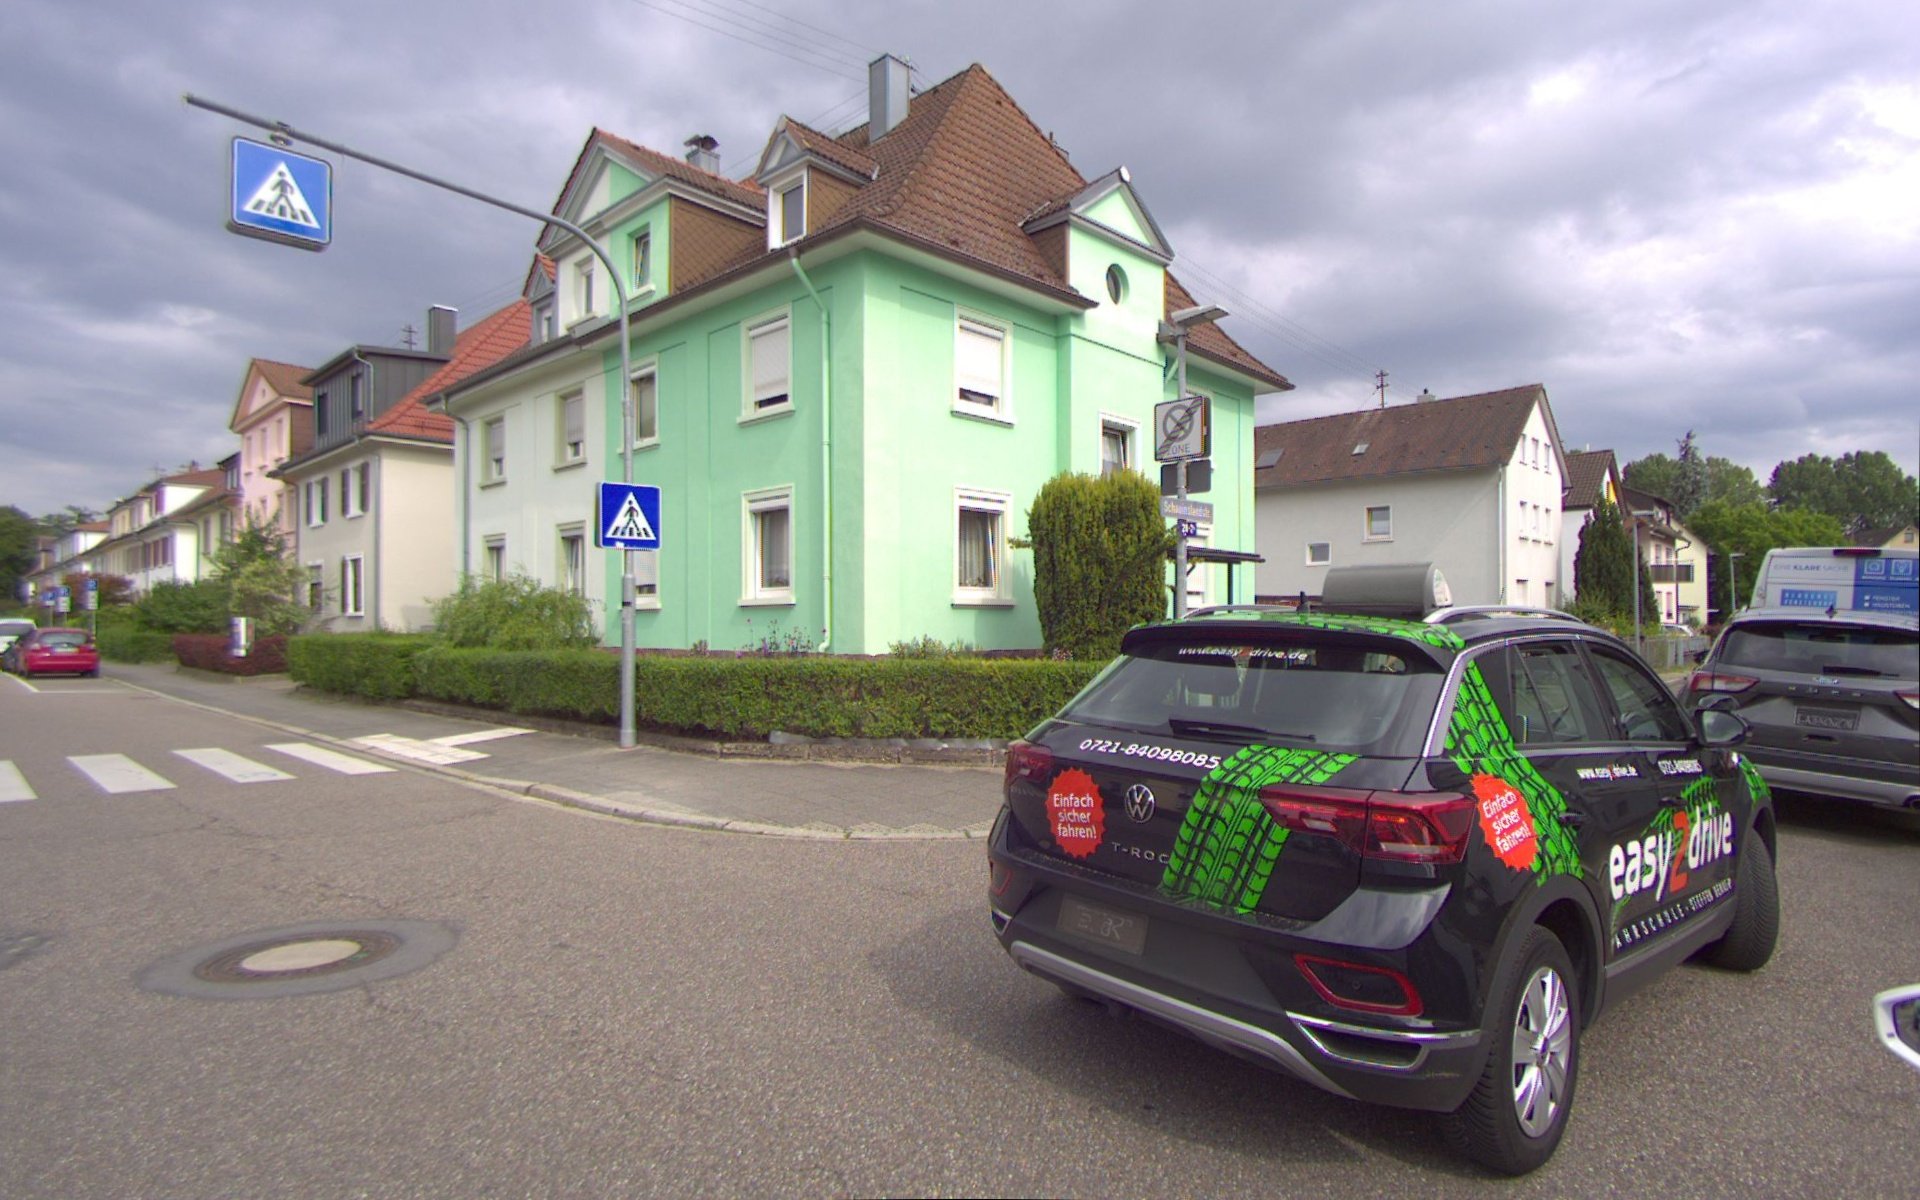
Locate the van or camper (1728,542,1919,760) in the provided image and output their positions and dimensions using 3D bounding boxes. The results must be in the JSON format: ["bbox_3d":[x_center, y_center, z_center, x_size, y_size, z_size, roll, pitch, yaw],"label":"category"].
[{"bbox_3d":[12.223,0.627,13.827,2.168,2.491,5.026,-1,-1,43],"label":"van or camper"}]

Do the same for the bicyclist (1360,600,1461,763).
[{"bbox_3d":[4.958,0.873,11.039,0.689,1.688,0.969,-3,-3,44],"label":"bicyclist"}]

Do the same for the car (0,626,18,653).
[{"bbox_3d":[-58.248,2.357,60.489,3.945,1.595,1.988,-1,-2,44],"label":"car"}]

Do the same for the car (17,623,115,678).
[{"bbox_3d":[-27.919,1.530,31.336,3.945,1.595,1.988,-1,-2,44],"label":"car"}]

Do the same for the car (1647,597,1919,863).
[{"bbox_3d":[7.347,0.889,8.586,1.971,1.749,4.320,-1,-1,41],"label":"car"}]

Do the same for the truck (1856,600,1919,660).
[{"bbox_3d":[43.949,1.402,47.602,2.106,2.692,4.560,-1,-1,41],"label":"truck"}]

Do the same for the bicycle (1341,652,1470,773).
[{"bbox_3d":[4.883,1.170,10.958,0.697,1.167,1.862,-2,-2,43],"label":"bicycle"}]

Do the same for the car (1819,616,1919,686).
[{"bbox_3d":[25.089,1.337,27.797,1.971,1.772,4.320,-1,-1,41],"label":"car"}]

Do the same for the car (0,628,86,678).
[{"bbox_3d":[-31.777,1.783,34.753,3.945,1.595,1.988,-1,-2,44],"label":"car"}]

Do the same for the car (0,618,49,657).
[{"bbox_3d":[-47.685,1.869,50.892,3.945,1.929,1.988,-1,-2,44],"label":"car"}]

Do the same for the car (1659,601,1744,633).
[{"bbox_3d":[43.834,1.013,59.410,3.941,1.795,1.861,-1,-3,41],"label":"car"}]

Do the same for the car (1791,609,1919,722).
[{"bbox_3d":[16.278,1.087,18.067,1.971,1.795,4.320,-1,-1,41],"label":"car"}]

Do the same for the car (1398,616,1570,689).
[{"bbox_3d":[12.957,1.258,24.921,3.529,1.689,1.580,-1,-2,40],"label":"car"}]

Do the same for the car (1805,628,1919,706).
[{"bbox_3d":[19.659,1.373,21.792,1.971,1.475,4.320,-1,-1,41],"label":"car"}]

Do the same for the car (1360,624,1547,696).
[{"bbox_3d":[11.152,1.309,22.796,3.529,1.520,1.580,-1,-2,40],"label":"car"}]

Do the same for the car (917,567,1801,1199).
[{"bbox_3d":[1.944,0.767,4.131,4.013,1.540,1.800,2,-2,-42],"label":"car"}]
